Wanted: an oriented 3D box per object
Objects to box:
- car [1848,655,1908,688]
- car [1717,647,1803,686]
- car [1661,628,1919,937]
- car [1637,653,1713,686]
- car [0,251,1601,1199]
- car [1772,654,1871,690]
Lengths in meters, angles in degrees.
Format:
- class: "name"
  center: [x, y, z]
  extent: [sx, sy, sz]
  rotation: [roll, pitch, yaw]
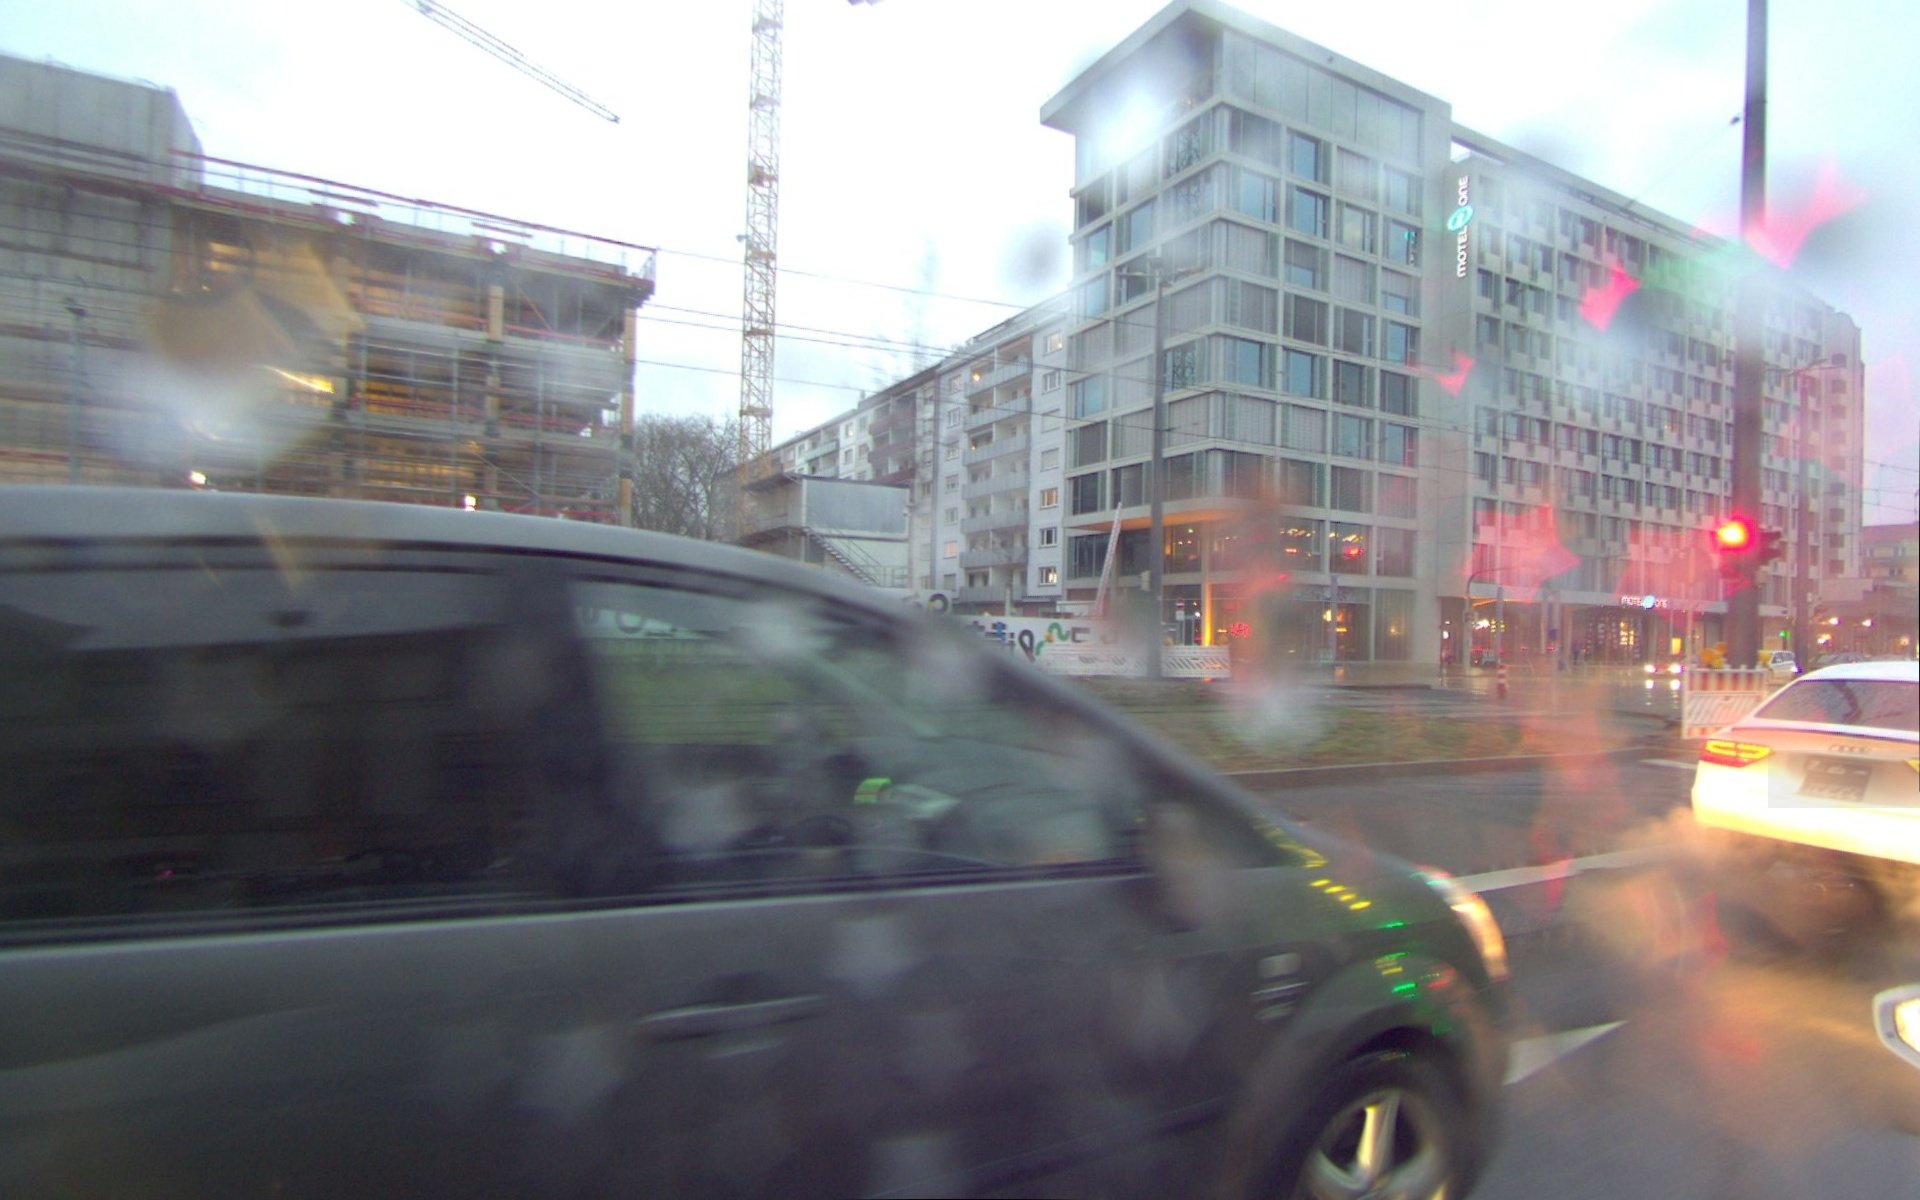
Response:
- class: "car"
  center: [46.503, 3.564, 50.841]
  extent: [5.062, 1.481, 1.974]
  rotation: [3, -1, -45]
- class: "car"
  center: [40.443, 3.379, 50.790]
  extent: [4.545, 1.813, 1.872]
  rotation: [3, -1, -30]
- class: "car"
  center: [6.398, 1.006, 6.327]
  extent: [4.205, 1.489, 1.750]
  rotation: [3, -1, -32]
- class: "car"
  center: [37.996, 3.669, 53.361]
  extent: [3.955, 1.595, 1.871]
  rotation: [3, -1, -32]
- class: "car"
  center: [-0.632, 0.525, 2.063]
  extent: [3.956, 1.615, 1.750]
  rotation: [3, -1, -32]
- class: "car"
  center: [40.558, 3.399, 47.261]
  extent: [5.035, 1.481, 1.984]
  rotation: [3, -1, -30]
